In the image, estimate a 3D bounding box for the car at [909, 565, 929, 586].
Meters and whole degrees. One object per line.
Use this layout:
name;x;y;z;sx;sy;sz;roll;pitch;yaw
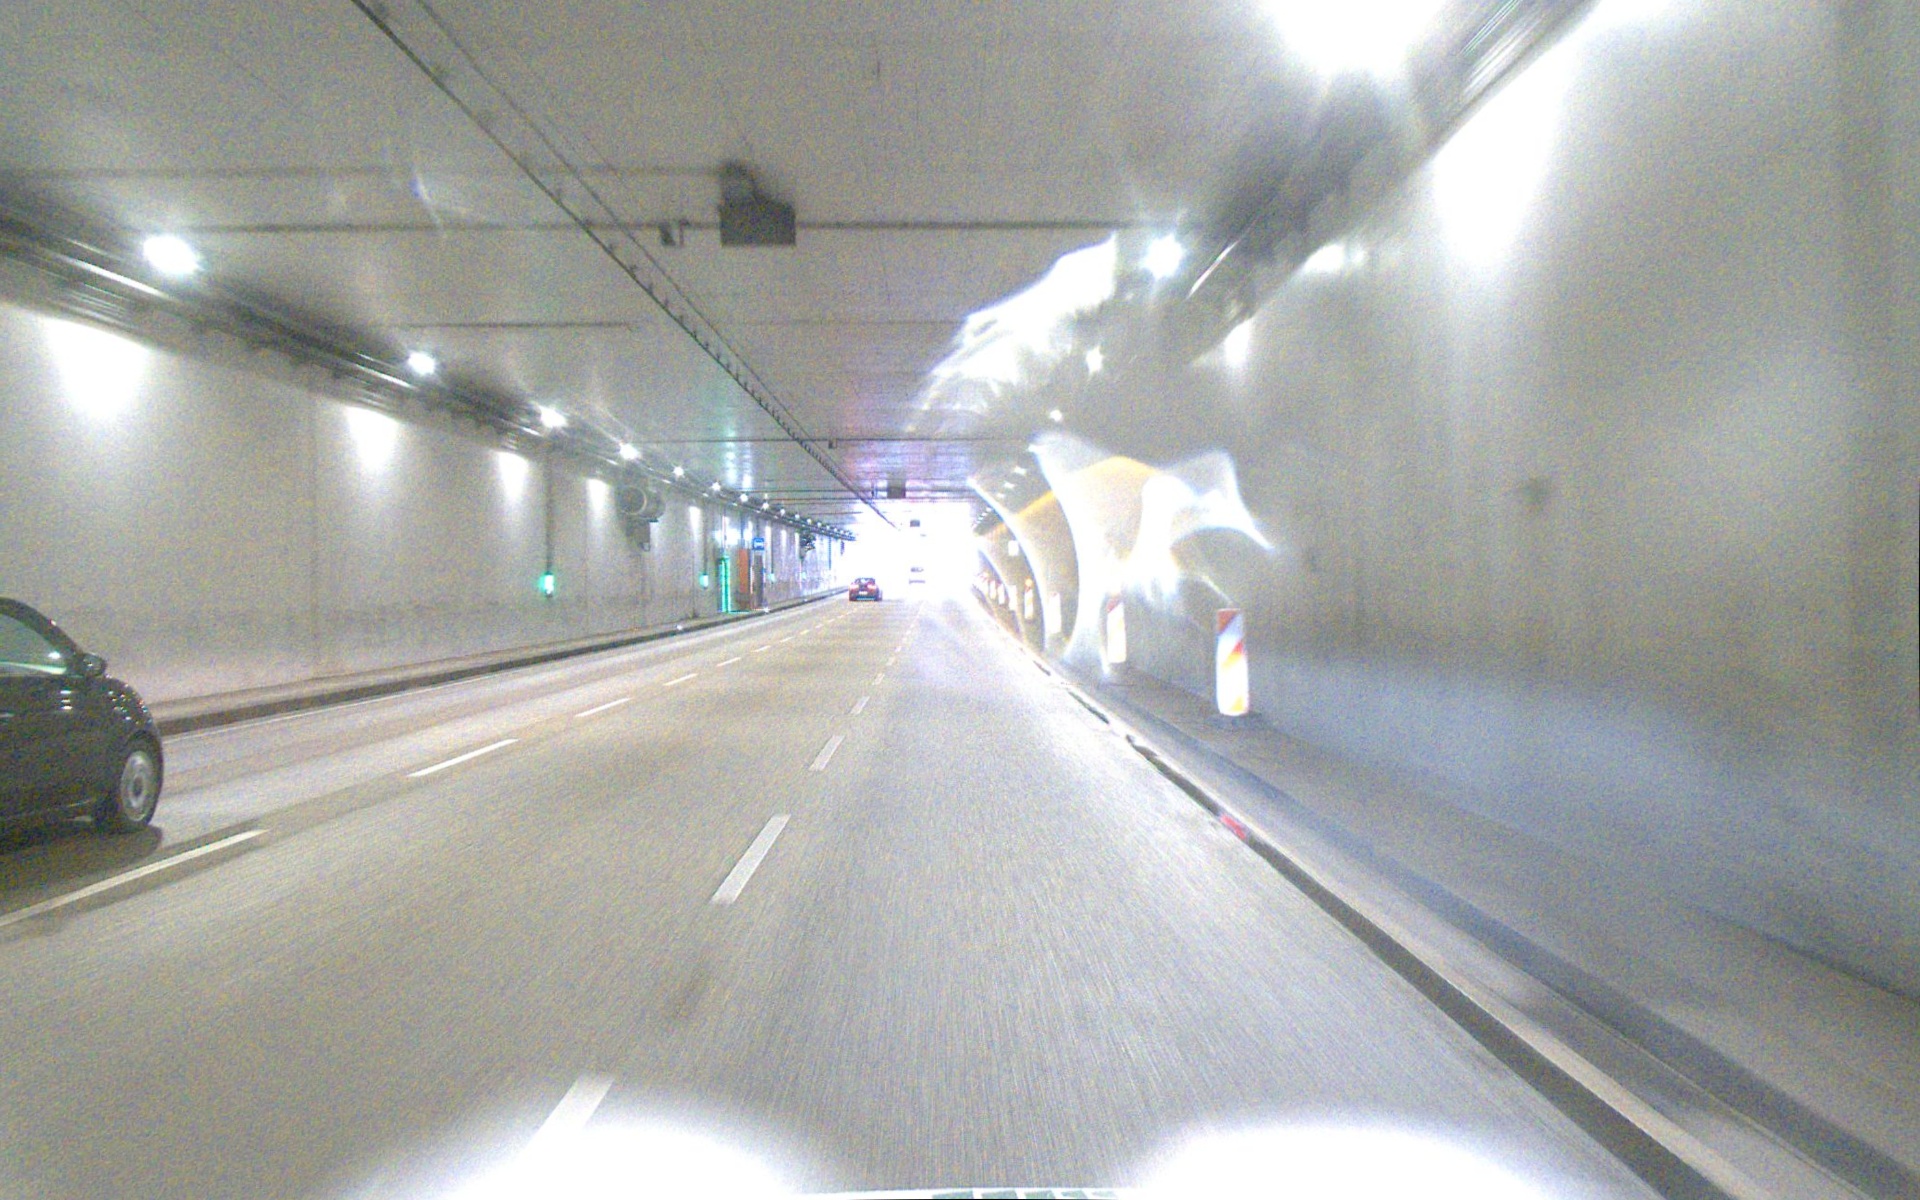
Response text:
car;-4.219;-2.515;169.184;1.953;2.049;4.000;0;0;0

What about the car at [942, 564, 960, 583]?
car;-1.008;-2.951;184.555;1.953;2.049;4.000;0;0;0

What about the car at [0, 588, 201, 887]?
car;-5.619;0.688;8.809;1.579;1.480;3.572;1;1;-2

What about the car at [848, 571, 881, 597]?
car;-5.916;-0.984;101.963;1.954;1.473;4.311;2;0;-4
